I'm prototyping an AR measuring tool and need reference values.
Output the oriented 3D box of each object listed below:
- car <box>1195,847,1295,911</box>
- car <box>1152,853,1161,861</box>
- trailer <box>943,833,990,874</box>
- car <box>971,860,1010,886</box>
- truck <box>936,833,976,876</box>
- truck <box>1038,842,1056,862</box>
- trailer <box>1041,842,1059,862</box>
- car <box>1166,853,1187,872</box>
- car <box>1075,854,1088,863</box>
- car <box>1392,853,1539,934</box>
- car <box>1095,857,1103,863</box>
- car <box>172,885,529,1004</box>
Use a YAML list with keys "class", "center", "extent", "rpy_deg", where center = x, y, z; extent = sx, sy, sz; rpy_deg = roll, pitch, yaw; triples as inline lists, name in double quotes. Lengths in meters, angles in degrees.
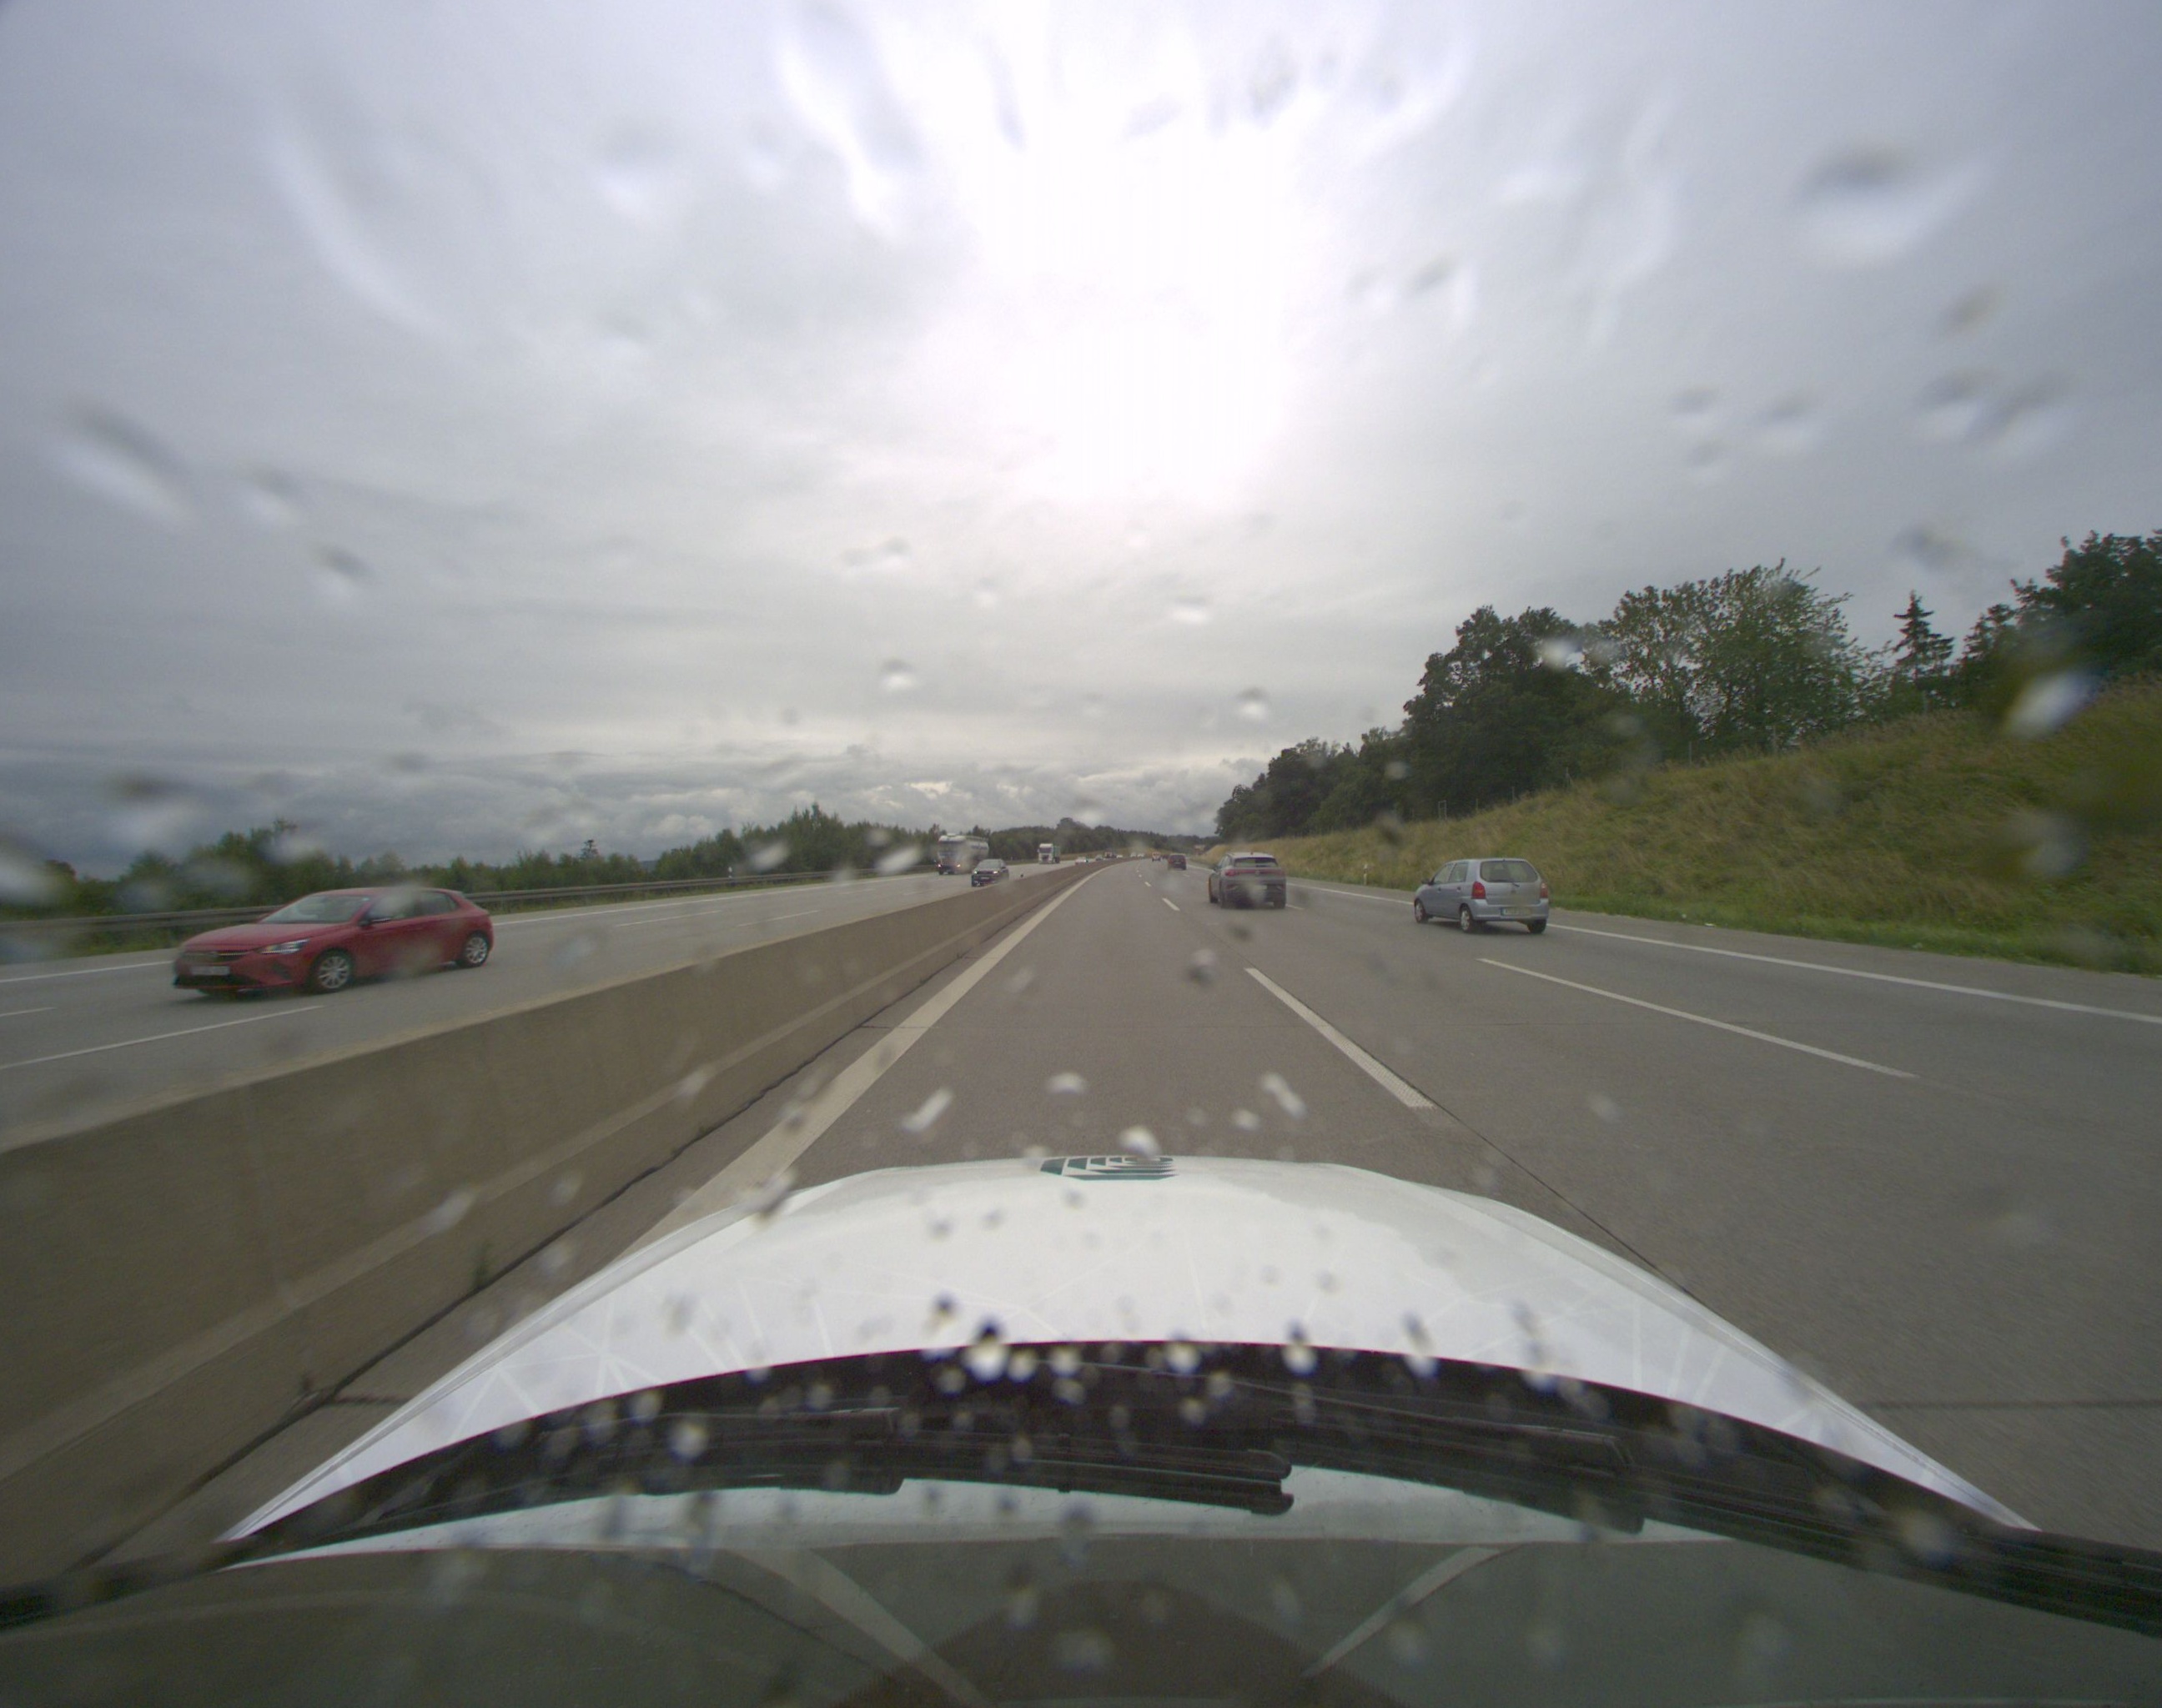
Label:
- class: "car"
  center: [4.827, 0.663, 24.783]
  extent: [1.892, 1.689, 5.263]
  rpy_deg: [0, 1, -1]
- class: "car"
  center: [17.355, 0.692, 186.825]
  extent: [1.831, 1.500, 4.009]
  rpy_deg: [-3, 1, 8]
- class: "trailer"
  center: [-12.006, -0.175, 86.598]
  extent: [2.748, 3.998, 12.297]
  rpy_deg: [0, 1, 2]
- class: "car"
  center: [-5.574, 1.142, 50.462]
  extent: [1.785, 1.417, 4.345]
  rpy_deg: [-1, 1, 2]
- class: "truck"
  center: [-12.245, -0.038, 80.326]
  extent: [2.736, 3.998, 6.933]
  rpy_deg: [0, 1, 2]
- class: "truck"
  center: [-6.422, -0.368, 155.660]
  extent: [2.738, 3.802, 5.537]
  rpy_deg: [-1, -1, 4]
- class: "trailer"
  center: [-6.069, -0.346, 160.827]
  extent: [2.737, 3.800, 9.325]
  rpy_deg: [-1, 0, 4]
- class: "car"
  center: [9.899, 0.894, 84.750]
  extent: [1.778, 1.746, 3.917]
  rpy_deg: [-4, 1, 2]
- class: "car"
  center: [0.054, 0.700, 141.166]
  extent: [1.985, 1.441, 4.771]
  rpy_deg: [1, 1, 2]
- class: "car"
  center: [8.075, 0.759, 17.432]
  extent: [1.481, 1.470, 3.504]
  rpy_deg: [-1, 1, 0]
- class: "car"
  center: [4.905, 1.532, 218.236]
  extent: [1.985, 1.589, 4.776]
  rpy_deg: [0, 0, 4]
- class: "car"
  center: [-11.049, 1.262, 12.864]
  extent: [1.513, 1.393, 4.488]
  rpy_deg: [0, 0, 1]
